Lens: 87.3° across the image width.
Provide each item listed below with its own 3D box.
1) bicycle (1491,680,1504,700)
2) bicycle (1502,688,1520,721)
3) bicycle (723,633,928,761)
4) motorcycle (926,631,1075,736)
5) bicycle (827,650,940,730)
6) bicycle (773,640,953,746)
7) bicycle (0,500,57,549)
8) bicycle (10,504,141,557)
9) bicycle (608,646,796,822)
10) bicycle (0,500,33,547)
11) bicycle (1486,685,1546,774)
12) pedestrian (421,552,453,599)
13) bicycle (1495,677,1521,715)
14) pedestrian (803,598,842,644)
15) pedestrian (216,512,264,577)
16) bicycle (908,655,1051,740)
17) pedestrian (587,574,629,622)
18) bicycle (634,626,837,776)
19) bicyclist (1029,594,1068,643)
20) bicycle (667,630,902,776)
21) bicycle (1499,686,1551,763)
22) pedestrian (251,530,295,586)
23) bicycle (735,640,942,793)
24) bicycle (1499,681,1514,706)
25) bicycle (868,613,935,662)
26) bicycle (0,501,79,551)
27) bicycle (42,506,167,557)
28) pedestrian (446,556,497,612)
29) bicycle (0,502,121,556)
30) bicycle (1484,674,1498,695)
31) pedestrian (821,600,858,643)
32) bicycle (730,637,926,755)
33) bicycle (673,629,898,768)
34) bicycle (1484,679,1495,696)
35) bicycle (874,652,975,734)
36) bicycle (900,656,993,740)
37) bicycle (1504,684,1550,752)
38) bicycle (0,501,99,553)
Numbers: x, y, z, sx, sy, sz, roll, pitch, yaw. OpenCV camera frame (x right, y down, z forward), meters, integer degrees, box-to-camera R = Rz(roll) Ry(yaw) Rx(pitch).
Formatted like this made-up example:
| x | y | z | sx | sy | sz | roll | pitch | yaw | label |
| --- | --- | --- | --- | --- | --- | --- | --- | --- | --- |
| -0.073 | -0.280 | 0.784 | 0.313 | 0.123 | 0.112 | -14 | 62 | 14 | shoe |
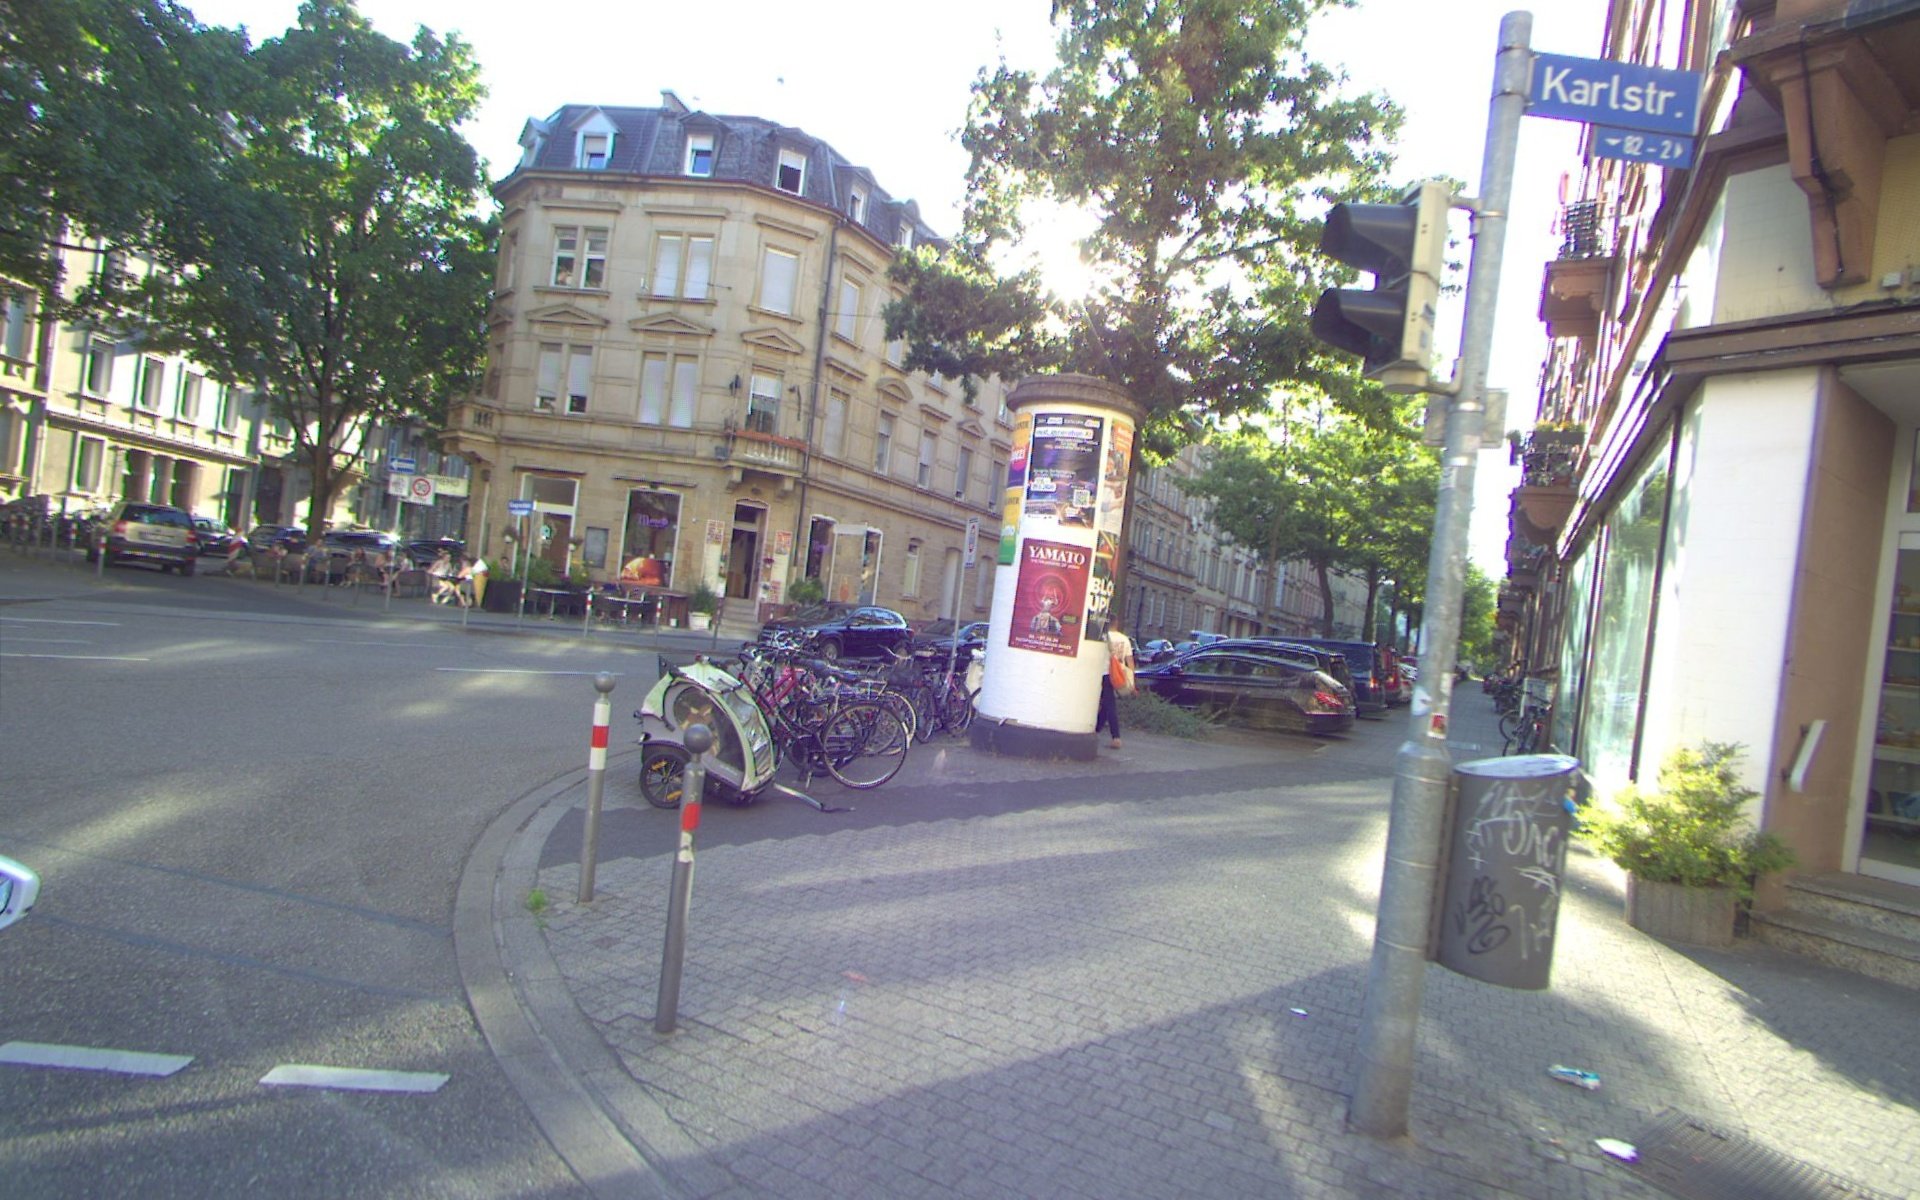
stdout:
| x | y | z | sx | sy | sz | roll | pitch | yaw | label |
| --- | --- | --- | --- | --- | --- | --- | --- | --- | --- |
| 28.978 | 4.856 | 54.210 | 0.545 | 1.013 | 1.891 | 5 | -1 | 28 | bicycle |
| 17.194 | 3.248 | 31.403 | 0.399 | 0.974 | 1.865 | 4 | -2 | 28 | bicycle |
| -1.332 | 0.961 | 10.047 | 1.903 | 1.106 | 0.425 | 5 | -1 | -9 | bicycle |
| 0.556 | 1.139 | 14.004 | 1.872 | 1.249 | 0.685 | 4 | -1 | 29 | motorcycle |
| -0.983 | 1.183 | 13.095 | 1.398 | 0.938 | 0.352 | 6 | -2 | -32 | bicycle |
| -1.088 | 1.041 | 11.397 | 1.899 | 0.999 | 0.497 | 5 | -1 | 6 | bicycle |
| -27.052 | -2.224 | 27.853 | 3.082 | 1.195 | 0.751 | 7 | 0 | -7 | bicycle |
| -27.383 | -2.131 | 31.169 | 3.082 | 1.195 | 0.751 | 7 | 0 | -7 | bicycle |
| -1.800 | 0.909 | 7.119 | 0.980 | 1.039 | 0.739 | 7 | 0 | 7 | bicycle |
| -26.982 | -2.244 | 27.066 | 3.082 | 1.195 | 0.751 | 7 | 0 | -7 | bicycle |
| 8.558 | 1.931 | 15.429 | 0.661 | 1.185 | 2.588 | 4 | -2 | 31 | bicycle |
| -14.789 | -0.684 | 28.459 | 0.473 | 1.264 | 0.510 | 7 | 1 | 26 | pedestrian |
| 18.729 | 3.273 | 34.387 | 0.661 | 1.185 | 2.589 | 4 | -2 | 29 | bicycle |
| -4.127 | 0.645 | 30.199 | 0.715 | 1.274 | 0.756 | 7 | 0 | 26 | pedestrian |
| -19.934 | -1.525 | 27.855 | 0.656 | 1.690 | 0.766 | 6 | 0 | 27 | pedestrian |
| 0.239 | 1.288 | 13.513 | 1.903 | 0.938 | 0.354 | 4 | -2 | 28 | bicycle |
| -9.770 | -0.054 | 27.961 | 0.714 | 1.228 | 0.757 | 7 | 0 | 9 | pedestrian |
| -1.790 | 0.826 | 8.105 | 1.462 | 1.106 | 0.422 | 6 | -2 | -32 | bicycle |
| 3.631 | 0.770 | 41.115 | 0.982 | 1.812 | 1.206 | 7 | 0 | 29 | bicyclist |
| -1.521 | 0.903 | 8.827 | 1.903 | 1.106 | 0.424 | 5 | -1 | -11 | bicycle |
| 9.933 | 2.134 | 17.650 | 0.661 | 1.185 | 2.588 | 4 | -2 | 31 | bicycle |
| -18.879 | -1.151 | 27.653 | 0.659 | 1.430 | 0.763 | 6 | 0 | 42 | pedestrian |
| -0.956 | 0.936 | 8.037 | 1.461 | 1.106 | 0.570 | 6 | -2 | -30 | bicycle |
| 25.028 | 4.273 | 46.097 | 0.545 | 1.013 | 1.891 | 5 | -1 | 28 | bicycle |
| -1.712 | 1.081 | 29.271 | 1.842 | 1.142 | 0.527 | 8 | 1 | 31 | bicycle |
| -27.149 | -2.202 | 28.679 | 3.082 | 1.195 | 0.751 | 7 | 0 | -7 | bicycle |
| -27.446 | -2.181 | 32.310 | 3.082 | 1.195 | 0.751 | 7 | 0 | -7 | bicycle |
| -12.490 | -0.395 | 25.739 | 0.731 | 1.305 | 0.743 | 7 | 0 | 19 | pedestrian |
| -27.286 | -2.153 | 30.329 | 3.082 | 1.195 | 0.751 | 7 | 0 | -7 | bicycle |
| 32.870 | 5.230 | 62.203 | 0.661 | 1.185 | 2.589 | 4 | -2 | 29 | bicycle |
| -3.754 | 0.674 | 31.308 | 0.715 | 1.228 | 0.756 | 7 | 0 | 26 | pedestrian |
| -1.371 | 0.998 | 10.535 | 1.903 | 1.064 | 0.502 | 5 | -1 | -9 | bicycle |
| -1.584 | 0.904 | 9.240 | 1.903 | 1.106 | 0.424 | 5 | -1 | -11 | bicycle |
| 39.842 | 6.611 | 75.709 | 0.661 | 1.185 | 2.589 | 4 | -2 | 29 | bicycle |
| -0.417 | 1.172 | 12.630 | 0.349 | 0.938 | 1.521 | 4 | -2 | 36 | bicycle |
| -0.137 | 1.199 | 12.330 | 0.348 | 0.938 | 1.523 | 4 | -2 | 29 | bicycle |
| 11.213 | 2.295 | 19.858 | 0.661 | 1.185 | 2.588 | 4 | -2 | 31 | bicycle |
| -27.248 | -2.183 | 29.484 | 3.082 | 1.195 | 0.751 | 7 | 0 | -7 | bicycle |
